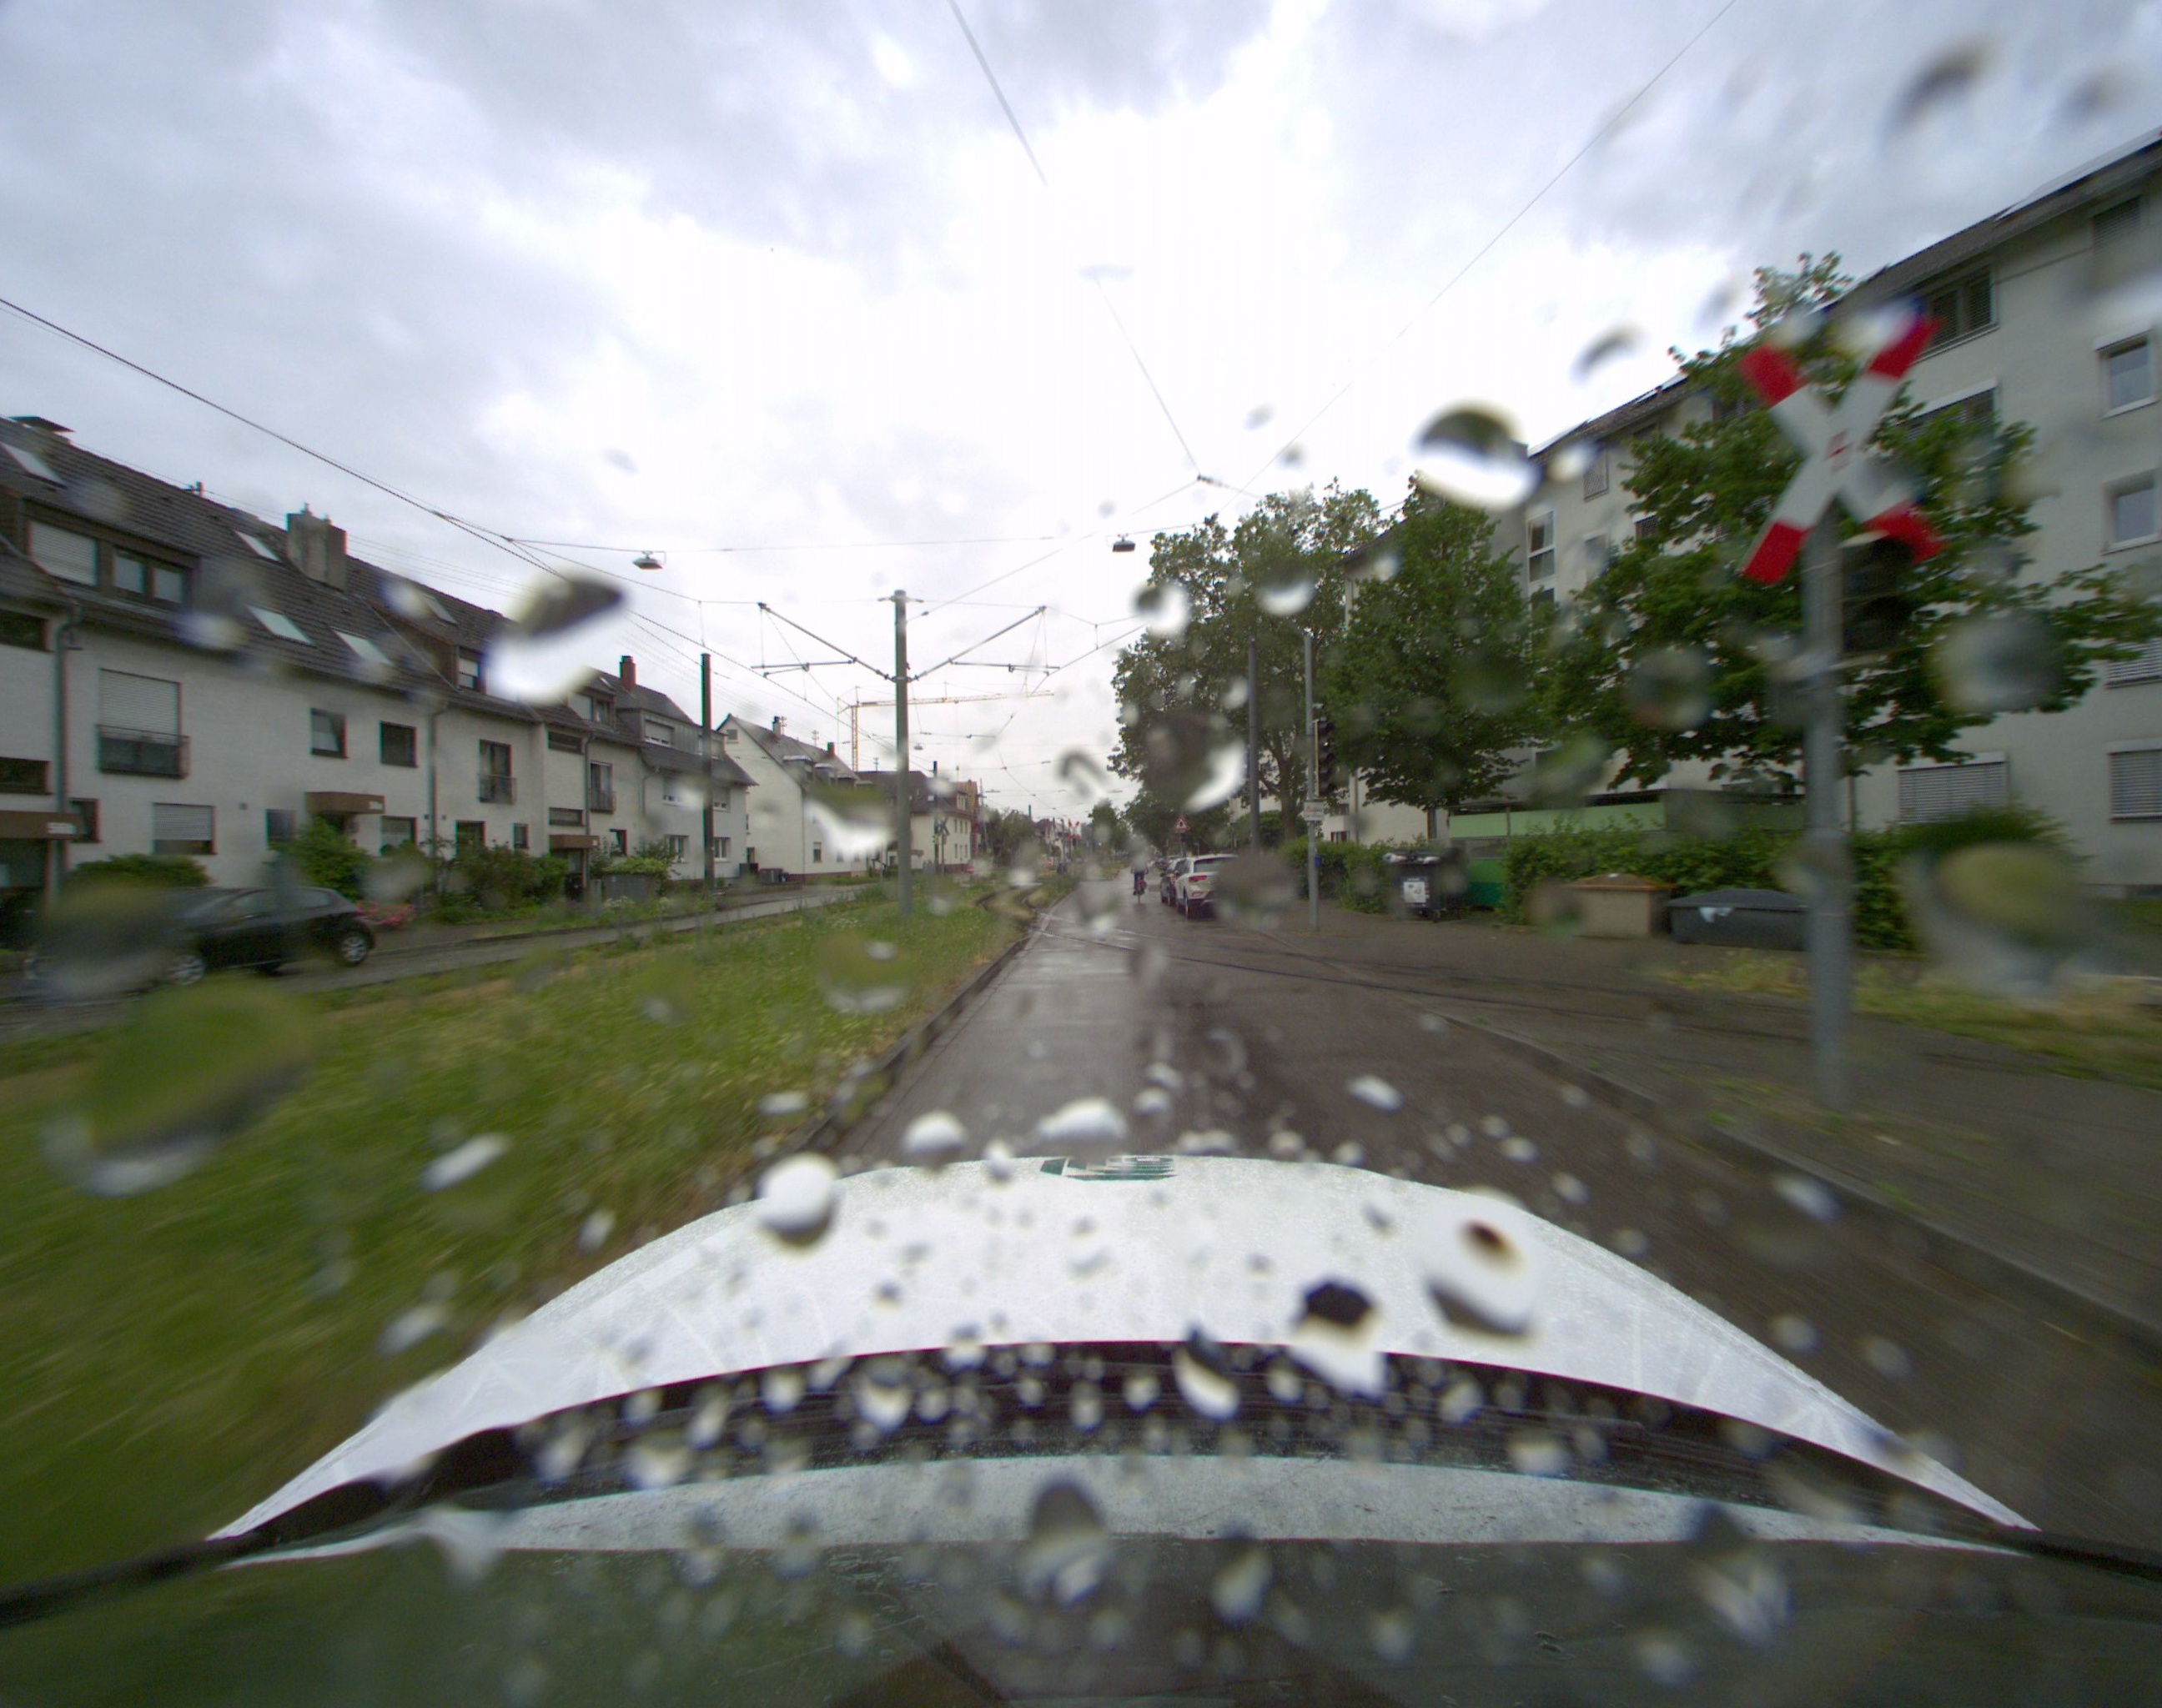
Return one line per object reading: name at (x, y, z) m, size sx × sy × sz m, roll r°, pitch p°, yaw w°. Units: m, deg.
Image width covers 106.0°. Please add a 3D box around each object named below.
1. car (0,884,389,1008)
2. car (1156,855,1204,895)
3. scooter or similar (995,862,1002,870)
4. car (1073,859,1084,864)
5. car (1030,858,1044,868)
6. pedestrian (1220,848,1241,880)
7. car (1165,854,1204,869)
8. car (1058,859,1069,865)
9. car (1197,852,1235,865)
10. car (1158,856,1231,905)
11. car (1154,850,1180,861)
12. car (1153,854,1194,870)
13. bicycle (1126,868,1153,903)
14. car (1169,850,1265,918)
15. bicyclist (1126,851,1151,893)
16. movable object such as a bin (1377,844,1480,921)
car at (-13.471, 1.296, 12.739) m, size 1.766 × 1.426 × 3.940 m, roll -2°, pitch 0°, yaw 2°
car at (3.998, 0.822, 33.441) m, size 1.552 × 1.519 × 4.001 m, roll -2°, pitch 0°, yaw 1°
scooter or similar at (-11.547, 1.661, 114.292) m, size 0.390 × 1.180 × 1.289 m, roll -2°, pitch -1°, yaw 19°
car at (-0.684, 1.732, 195.050) m, size 1.886 × 1.244 × 4.698 m, roll 1°, pitch 0°, yaw 8°
car at (-7.521, 1.543, 139.621) m, size 1.701 × 1.542 × 4.430 m, roll 1°, pitch 0°, yaw 6°
pedestrian at (8.707, 0.592, 47.503) m, size 1.091 × 1.813 × 1.439 m, roll -1°, pitch 0°, yaw 14°
car at (10.967, 0.768, 85.840) m, size 4.019 × 1.429 × 1.715 m, roll -2°, pitch 0°, yaw -37°
car at (-3.647, 1.723, 169.198) m, size 1.655 × 1.244 × 4.078 m, roll 1°, pitch 0°, yaw 6°
car at (18.984, 0.659, 114.666) m, size 4.804 × 1.745 × 1.993 m, roll -1°, pitch 0°, yaw -11°
car at (3.699, 0.812, 27.202) m, size 1.893 × 1.449 × 4.185 m, roll -2°, pitch 0°, yaw 1°
car at (15.612, 0.246, 147.790) m, size 4.158 × 1.719 × 1.982 m, roll -4°, pitch 1°, yaw -27°
car at (10.088, 0.860, 89.121) m, size 4.370 × 1.651 × 1.837 m, roll -2°, pitch 0°, yaw -37°
bicycle at (2.057, 1.086, 28.842) m, size 0.806 × 1.097 × 2.518 m, roll -2°, pitch 0°, yaw 2°
car at (3.512, 0.734, 21.699) m, size 1.893 × 1.575 × 4.112 m, roll -2°, pitch 0°, yaw 1°
bicyclist at (2.039, 0.622, 28.842) m, size 0.806 × 1.433 × 1.060 m, roll -2°, pitch 0°, yaw 1°
movable object such as a bin at (6.913, 0.549, 16.222) m, size 1.158 × 1.441 × 1.460 m, roll -2°, pitch -1°, yaw -37°
